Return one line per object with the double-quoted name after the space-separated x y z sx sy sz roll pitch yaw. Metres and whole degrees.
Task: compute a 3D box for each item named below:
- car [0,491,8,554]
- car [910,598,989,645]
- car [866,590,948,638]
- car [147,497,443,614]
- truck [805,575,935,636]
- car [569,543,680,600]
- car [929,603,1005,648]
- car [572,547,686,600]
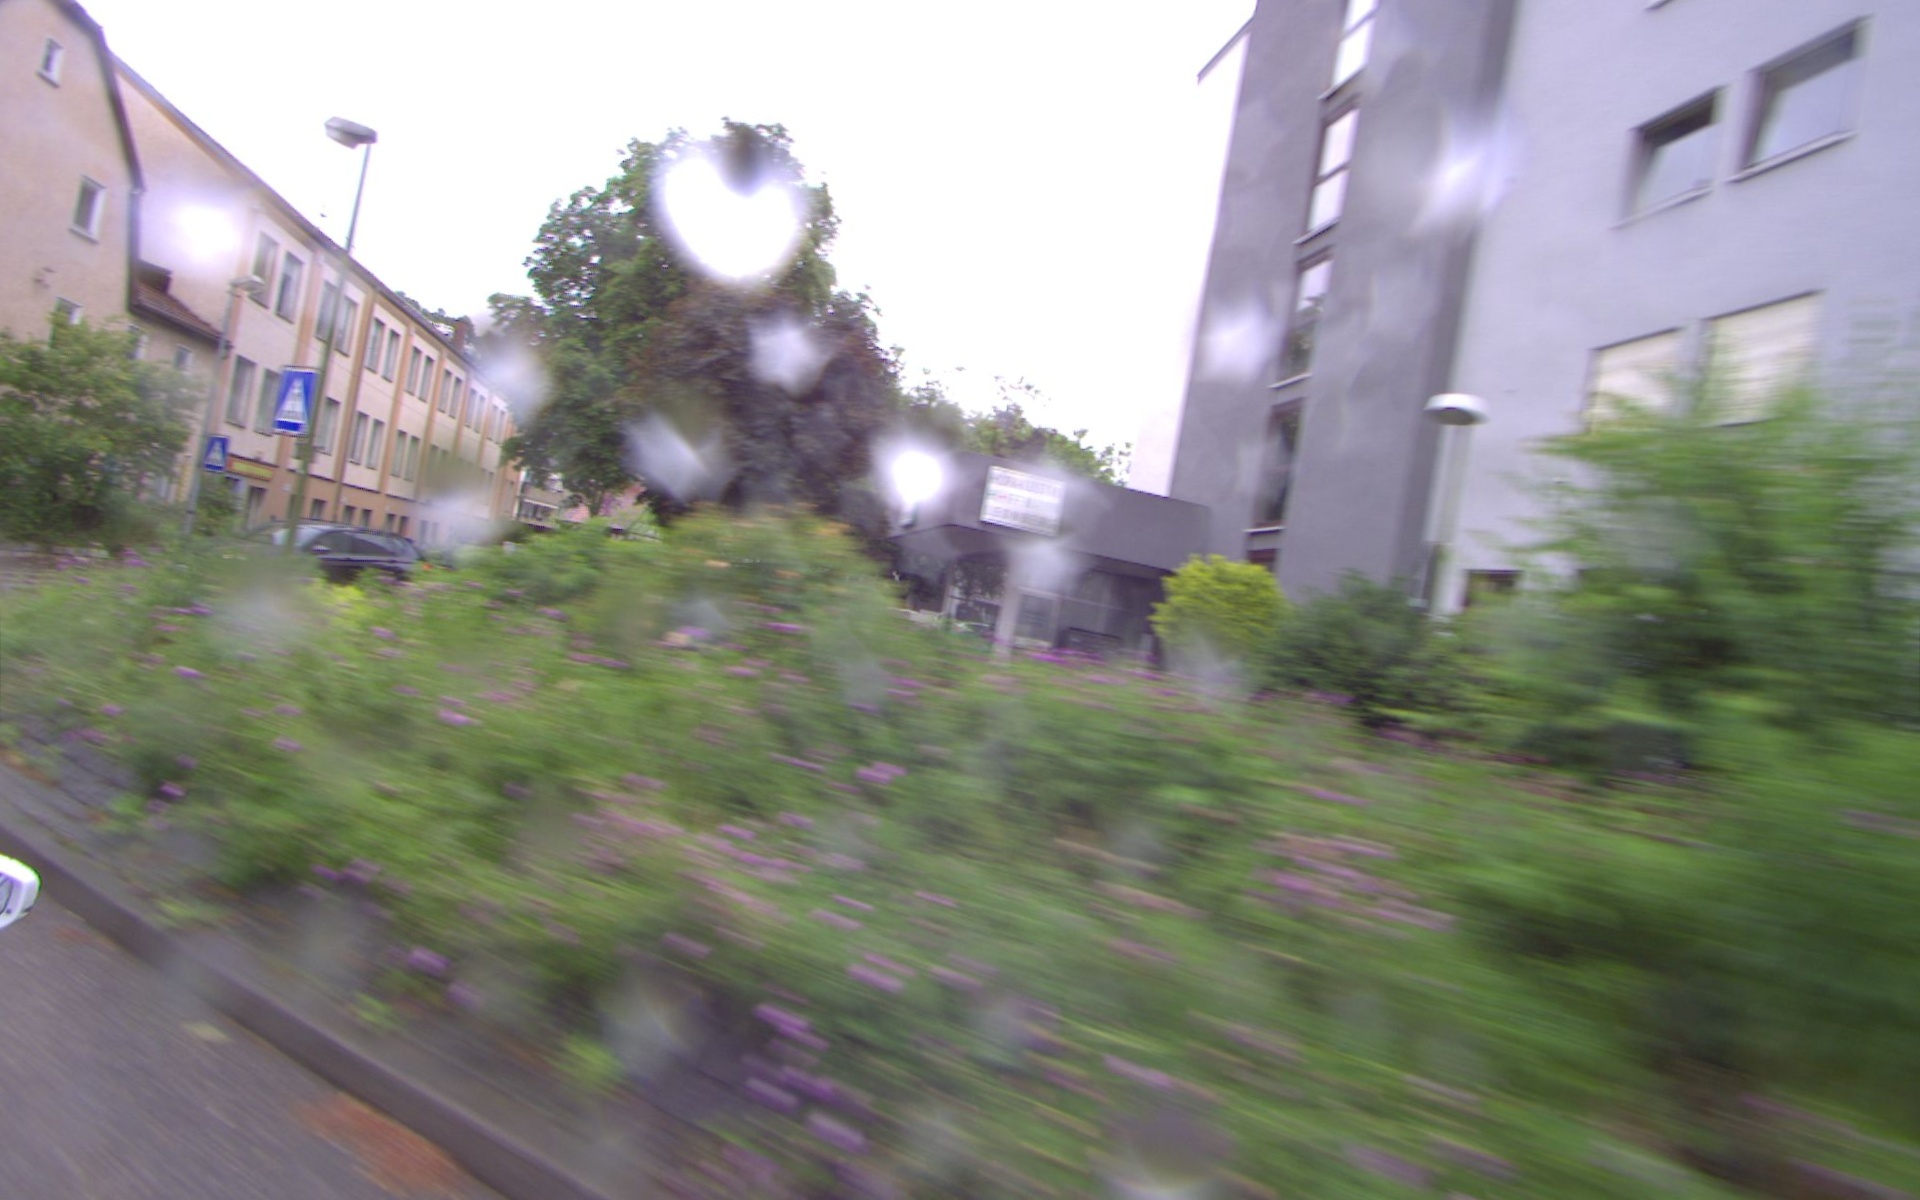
-15.302 -1.065 13.099 1.681 1.470 3.763 9 0 22 "car"
-0.615 1.175 56.068 3.771 1.855 1.856 9 -2 33 "car"
-2.874 0.746 54.284 3.771 1.855 1.856 9 -2 33 "car"
-12.452 -0.750 19.216 1.687 1.592 4.419 9 0 22 "car"
-4.698 0.250 52.012 6.582 2.303 2.300 8 0 35 "truck"
-13.105 -1.099 39.486 3.845 1.592 1.714 9 0 -14 "car"
0.401 1.451 58.160 3.771 1.855 1.856 9 -2 33 "car"
-14.439 -1.145 43.966 4.371 1.592 1.706 9 0 -28 "car"
